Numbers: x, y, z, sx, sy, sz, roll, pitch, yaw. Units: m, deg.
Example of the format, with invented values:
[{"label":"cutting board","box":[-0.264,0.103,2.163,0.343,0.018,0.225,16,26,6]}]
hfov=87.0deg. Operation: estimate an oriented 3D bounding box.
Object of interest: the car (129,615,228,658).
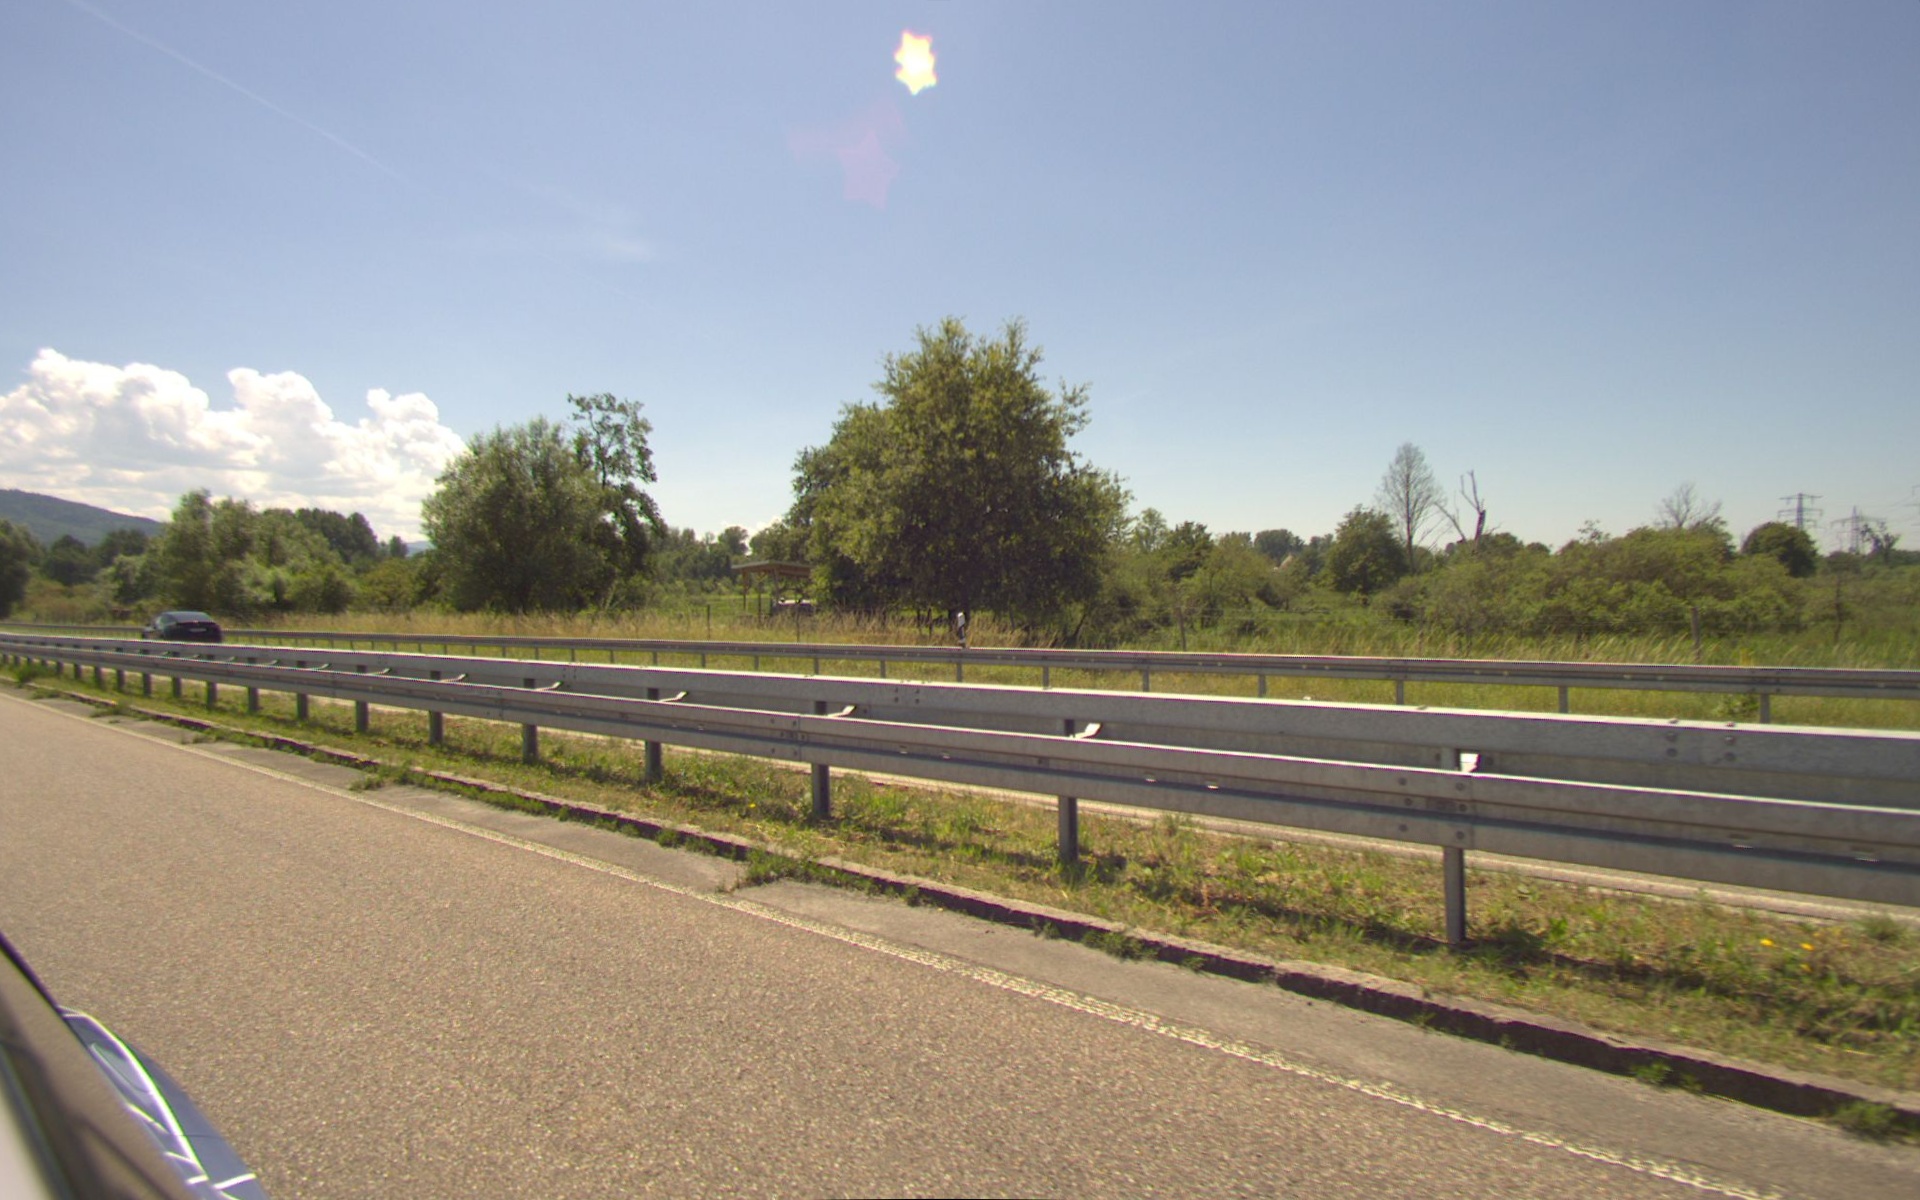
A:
[{"label":"car","box":[-31.348,1.426,40.552,4.956,1.620,1.975,-1,-1,38]}]
